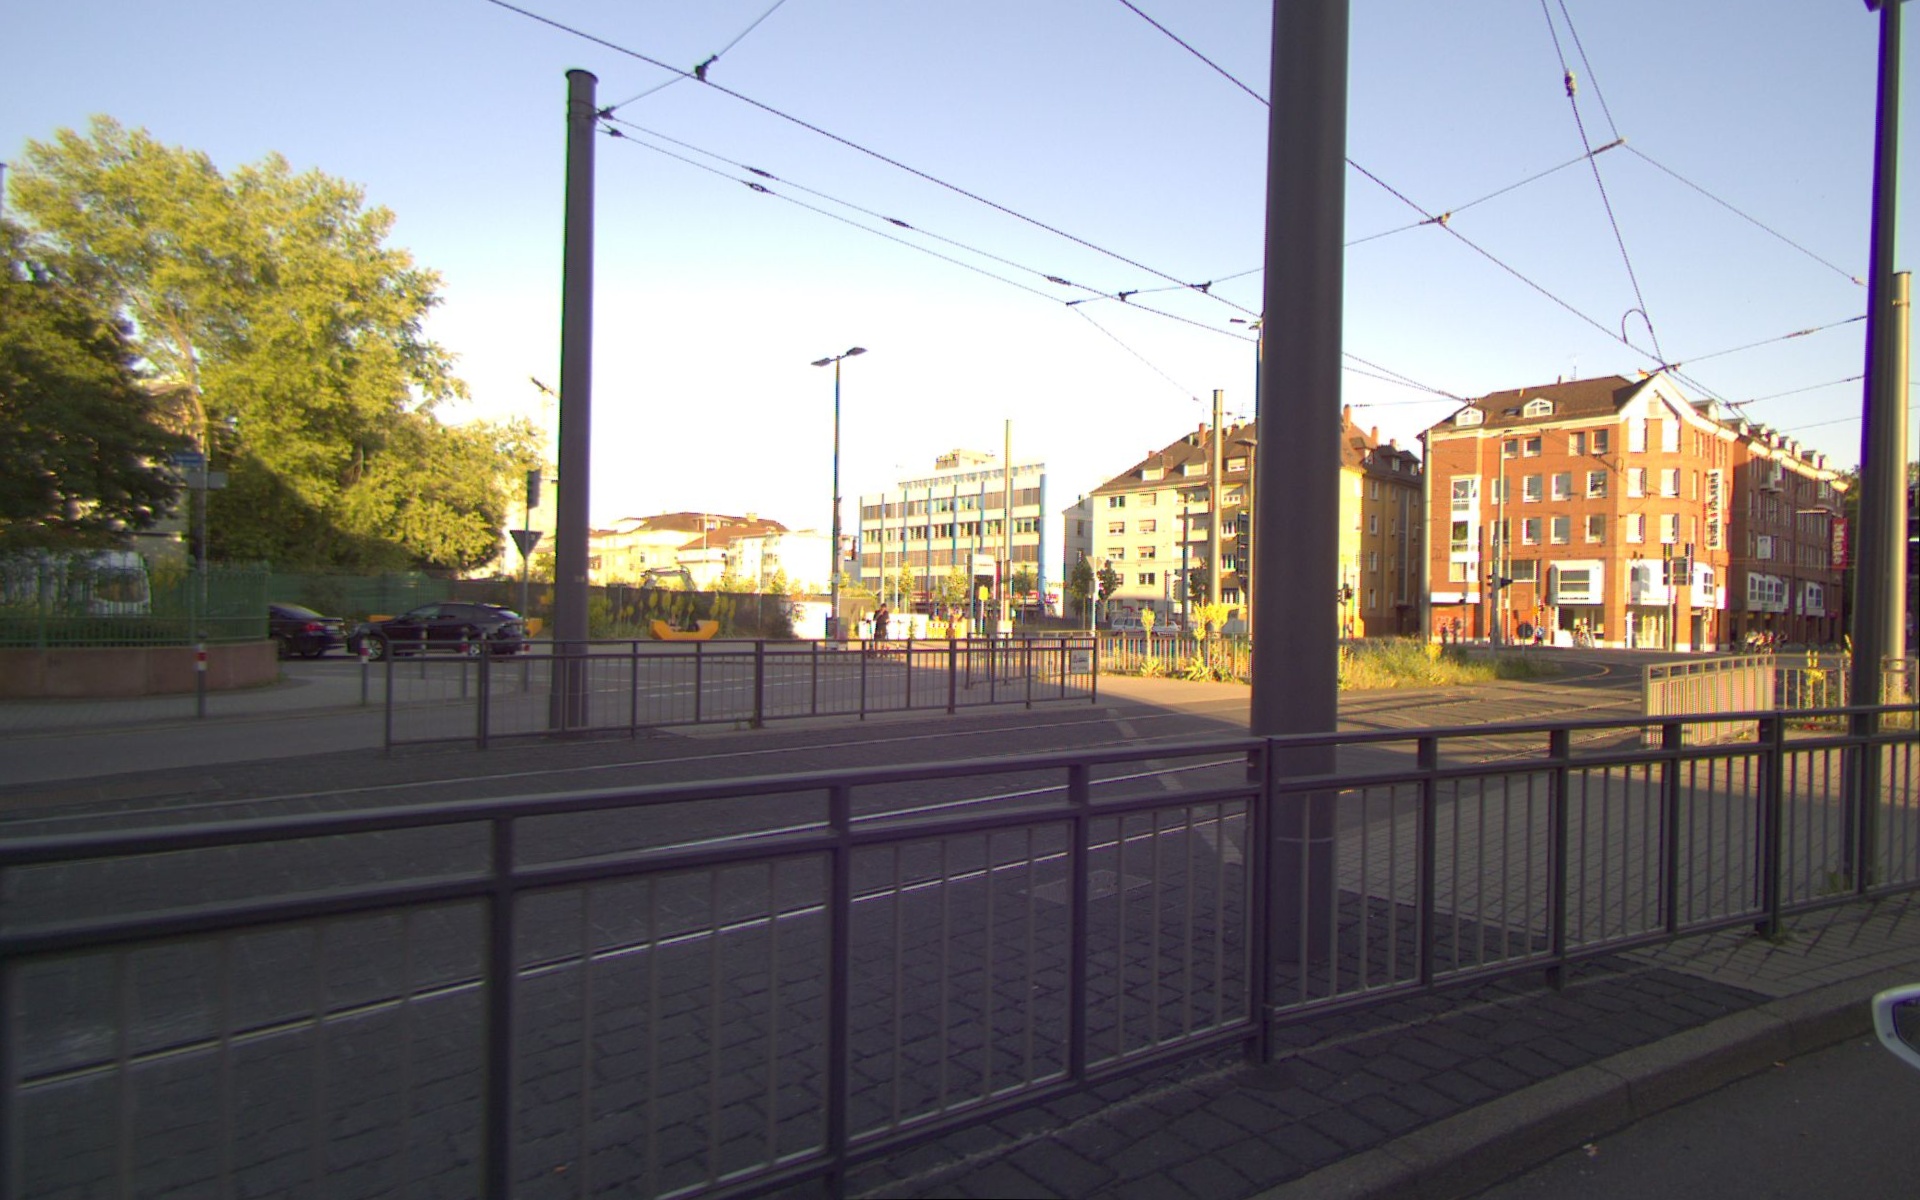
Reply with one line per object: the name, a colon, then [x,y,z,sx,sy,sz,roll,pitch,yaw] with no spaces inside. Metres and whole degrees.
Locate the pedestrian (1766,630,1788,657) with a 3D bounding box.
pedestrian: [63.499,3.365,78.094,1.154,2.040,1.084,2,1,-41]

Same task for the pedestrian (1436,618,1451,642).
pedestrian: [36.205,2.220,75.170,0.658,1.766,0.687,3,0,-21]

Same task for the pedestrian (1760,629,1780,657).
pedestrian: [60.507,3.230,75.029,0.901,2.040,0.968,2,1,-41]

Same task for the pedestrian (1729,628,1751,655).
pedestrian: [59.309,3.157,76.405,0.901,2.040,1.084,2,1,-40]

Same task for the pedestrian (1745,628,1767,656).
pedestrian: [60.858,3.234,76.821,0.901,2.040,1.084,2,1,-40]

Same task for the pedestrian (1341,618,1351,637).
pedestrian: [33.109,2.352,86.189,0.496,1.664,0.546,2,1,-40]

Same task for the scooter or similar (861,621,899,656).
scooter or similar: [-2.582,1.232,32.630,0.419,1.077,1.622,3,1,27]

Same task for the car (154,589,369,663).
car: [-17.463,0.621,25.274,3.923,1.598,1.999,3,1,-2]

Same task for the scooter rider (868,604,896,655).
scooter rider: [-2.537,0.959,32.719,0.576,1.614,0.656,3,1,31]

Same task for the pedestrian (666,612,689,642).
pedestrian: [-12.119,1.155,43.043,0.699,1.227,0.717,2,1,-40]

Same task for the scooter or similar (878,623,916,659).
scooter or similar: [-2.033,1.303,32.448,0.419,1.097,1.622,3,1,27]

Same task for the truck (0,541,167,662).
truck: [-23.063,-0.049,24.573,5.362,2.735,2.195,3,1,-4]

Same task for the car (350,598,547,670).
car: [-12.901,0.822,25.541,3.923,1.567,1.999,3,1,-2]

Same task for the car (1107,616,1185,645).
car: [11.269,1.865,61.157,4.293,1.572,1.988,2,0,45]

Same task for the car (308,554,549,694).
car: [-8.818,0.355,16.586,3.935,2.040,1.993,1,-1,36]
